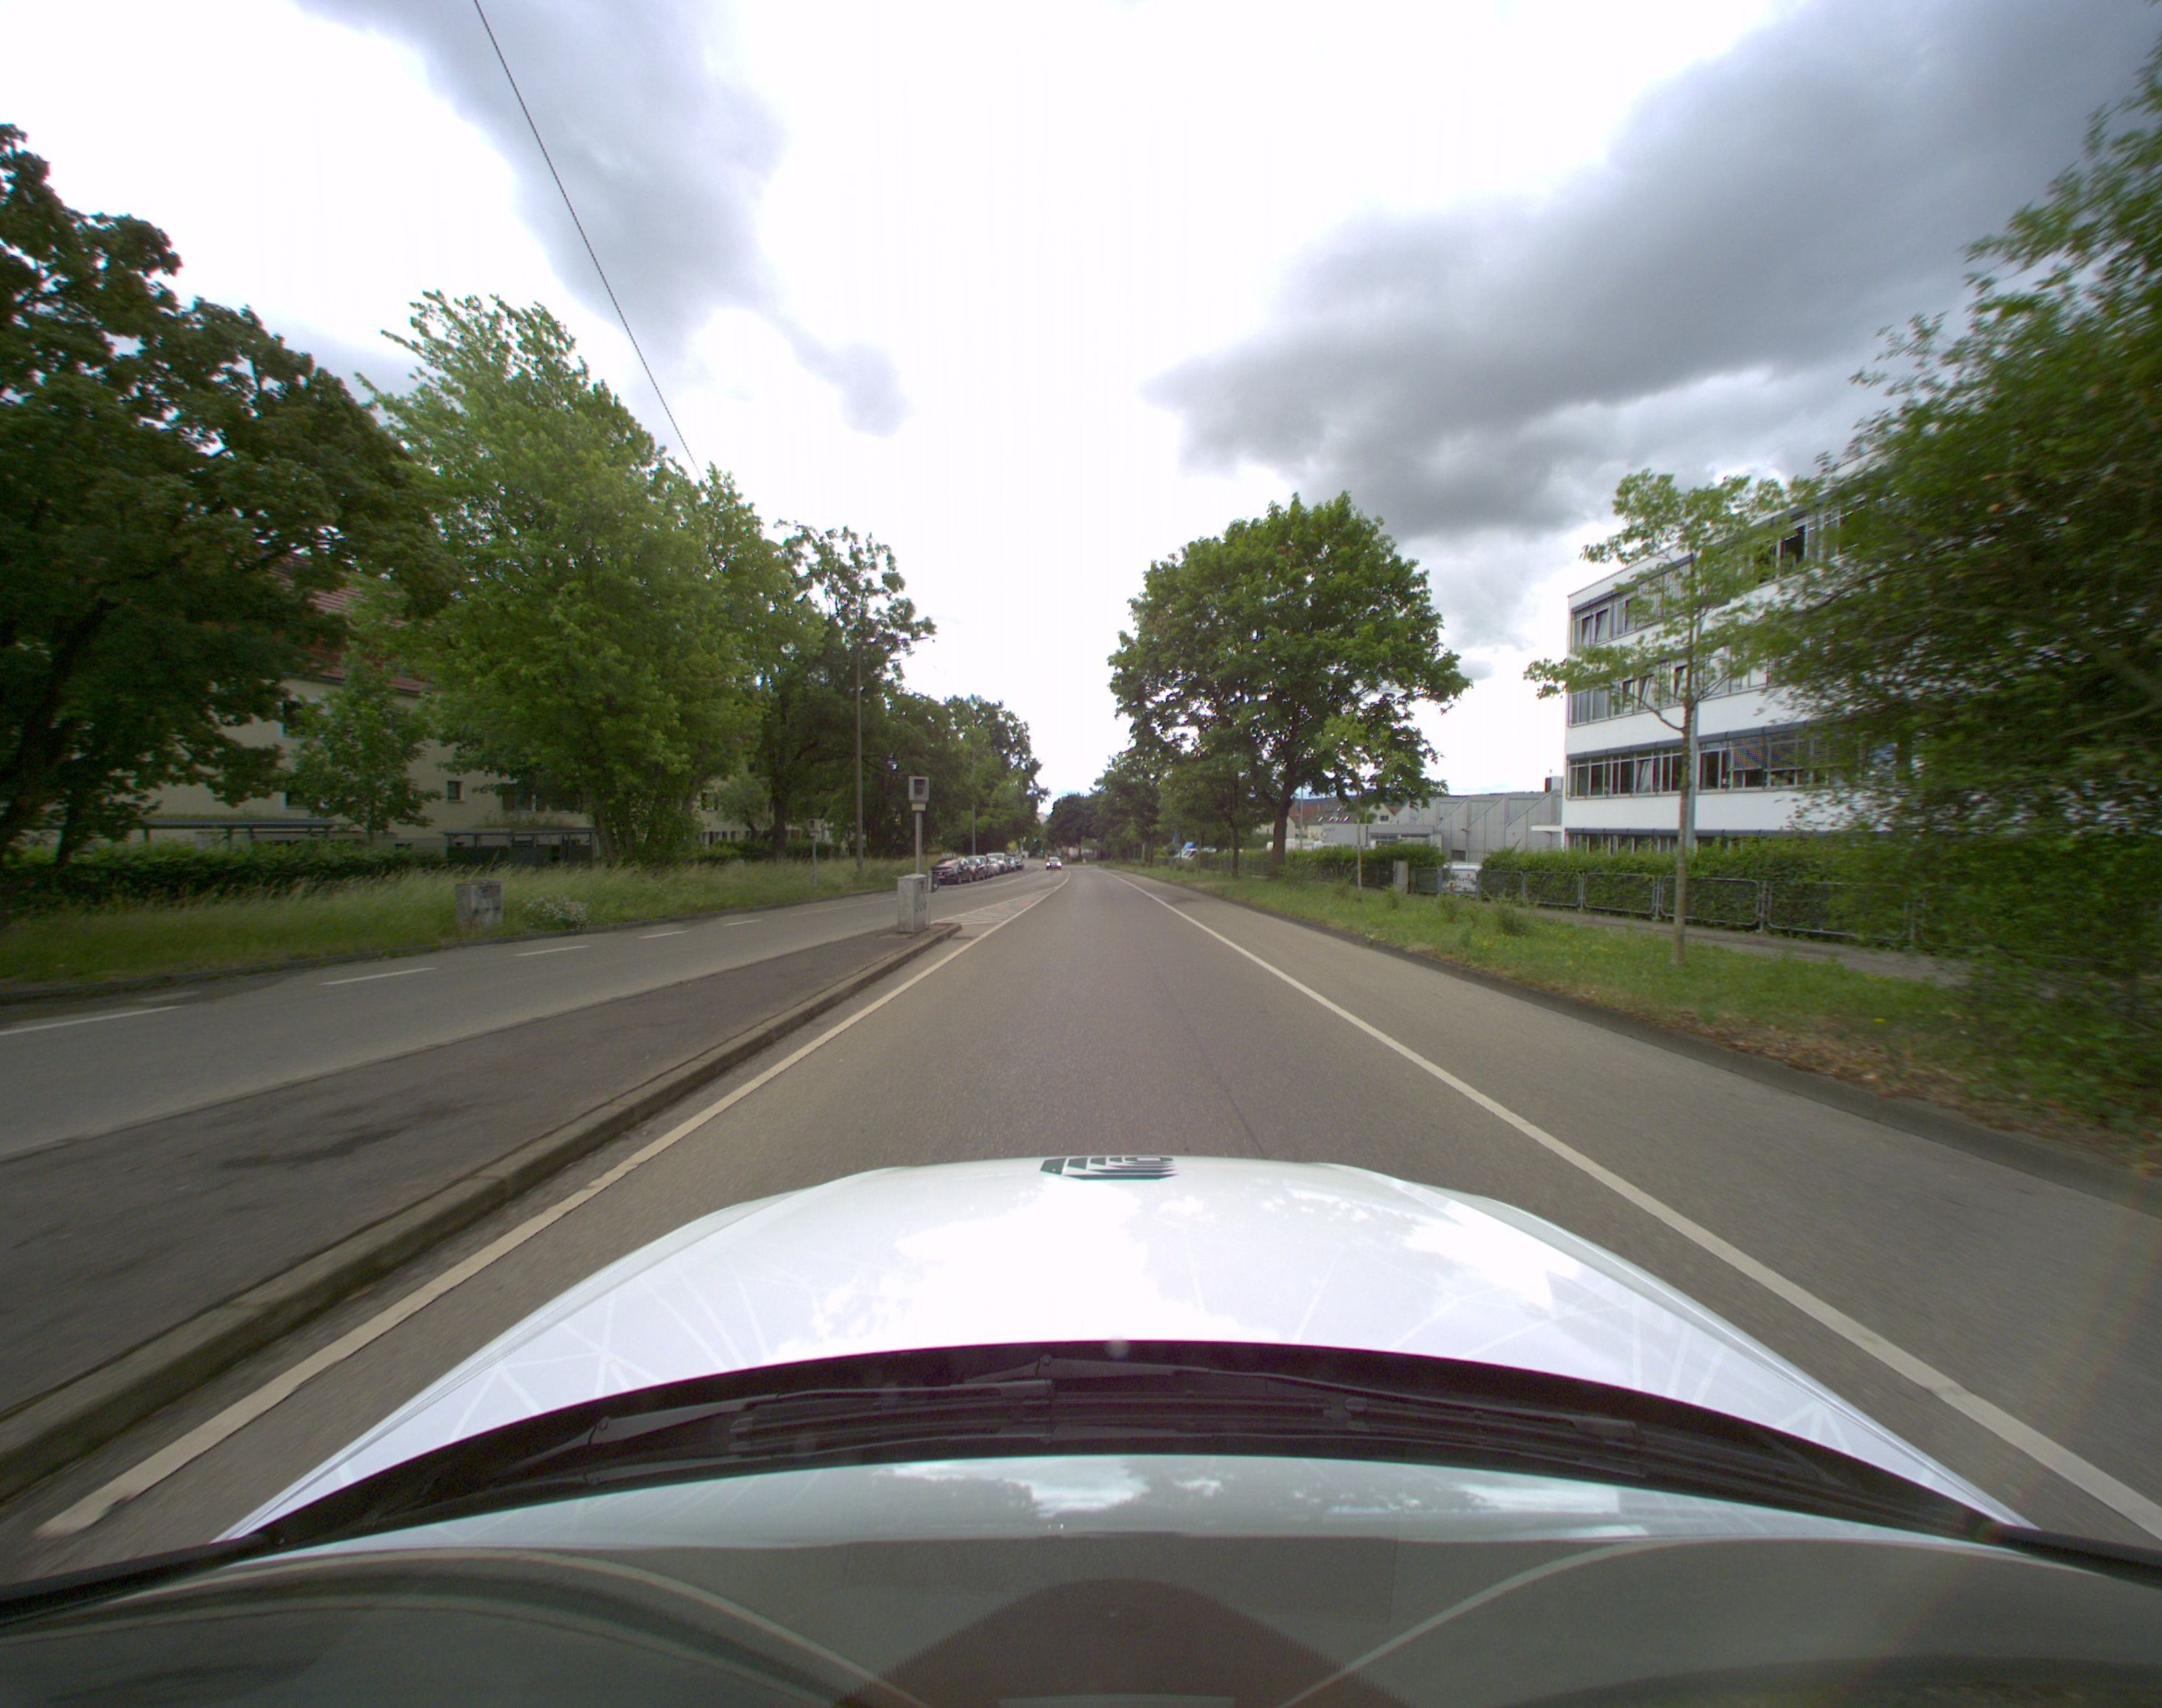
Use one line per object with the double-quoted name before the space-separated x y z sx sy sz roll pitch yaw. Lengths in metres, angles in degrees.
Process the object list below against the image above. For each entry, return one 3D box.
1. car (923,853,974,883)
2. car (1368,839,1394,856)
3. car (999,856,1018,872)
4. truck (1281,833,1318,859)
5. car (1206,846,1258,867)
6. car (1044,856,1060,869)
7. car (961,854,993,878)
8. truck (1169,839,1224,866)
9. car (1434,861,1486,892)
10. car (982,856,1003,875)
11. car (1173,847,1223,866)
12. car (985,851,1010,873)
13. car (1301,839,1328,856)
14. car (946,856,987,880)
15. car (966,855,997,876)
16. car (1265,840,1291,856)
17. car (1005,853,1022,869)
"car" -7.312 0.767 45.438 1.867 1.570 4.654 0 0 3
"car" 50.940 -1.164 138.286 2.234 2.676 5.483 0 2 43
"car" -7.539 1.018 85.001 1.669 1.564 4.278 -1 0 -2
"truck" 30.667 -1.019 114.720 2.842 3.459 9.545 0 0 2
"car" 15.907 0.302 85.620 5.272 2.188 2.054 1 -1 -26
"car" -3.319 0.970 94.562 1.632 1.467 4.000 -2 0 1
"car" -7.127 0.775 56.143 1.763 1.592 4.133 -1 0 -1
"truck" 15.957 -0.224 112.444 7.200 3.477 2.597 -1 0 -26
"car" 27.605 1.606 59.446 1.986 2.145 4.001 0 0 2
"car" -7.387 0.940 68.038 1.632 1.433 3.944 0 0 -4
"car" 15.005 0.289 104.458 6.039 2.367 2.343 1 -1 -25
"car" -7.544 0.678 73.856 1.762 1.931 5.154 0 0 0
"car" 40.347 -1.140 140.530 2.234 2.676 5.483 0 2 43
"car" -7.108 0.845 50.823 1.761 1.447 4.152 -1 0 2
"car" -7.680 0.860 63.283 1.761 1.495 4.358 -2 0 1
"car" 34.431 -1.092 142.312 2.233 2.676 5.485 0 2 38
"car" -8.207 0.834 99.632 1.861 1.963 5.122 -1 0 -2
